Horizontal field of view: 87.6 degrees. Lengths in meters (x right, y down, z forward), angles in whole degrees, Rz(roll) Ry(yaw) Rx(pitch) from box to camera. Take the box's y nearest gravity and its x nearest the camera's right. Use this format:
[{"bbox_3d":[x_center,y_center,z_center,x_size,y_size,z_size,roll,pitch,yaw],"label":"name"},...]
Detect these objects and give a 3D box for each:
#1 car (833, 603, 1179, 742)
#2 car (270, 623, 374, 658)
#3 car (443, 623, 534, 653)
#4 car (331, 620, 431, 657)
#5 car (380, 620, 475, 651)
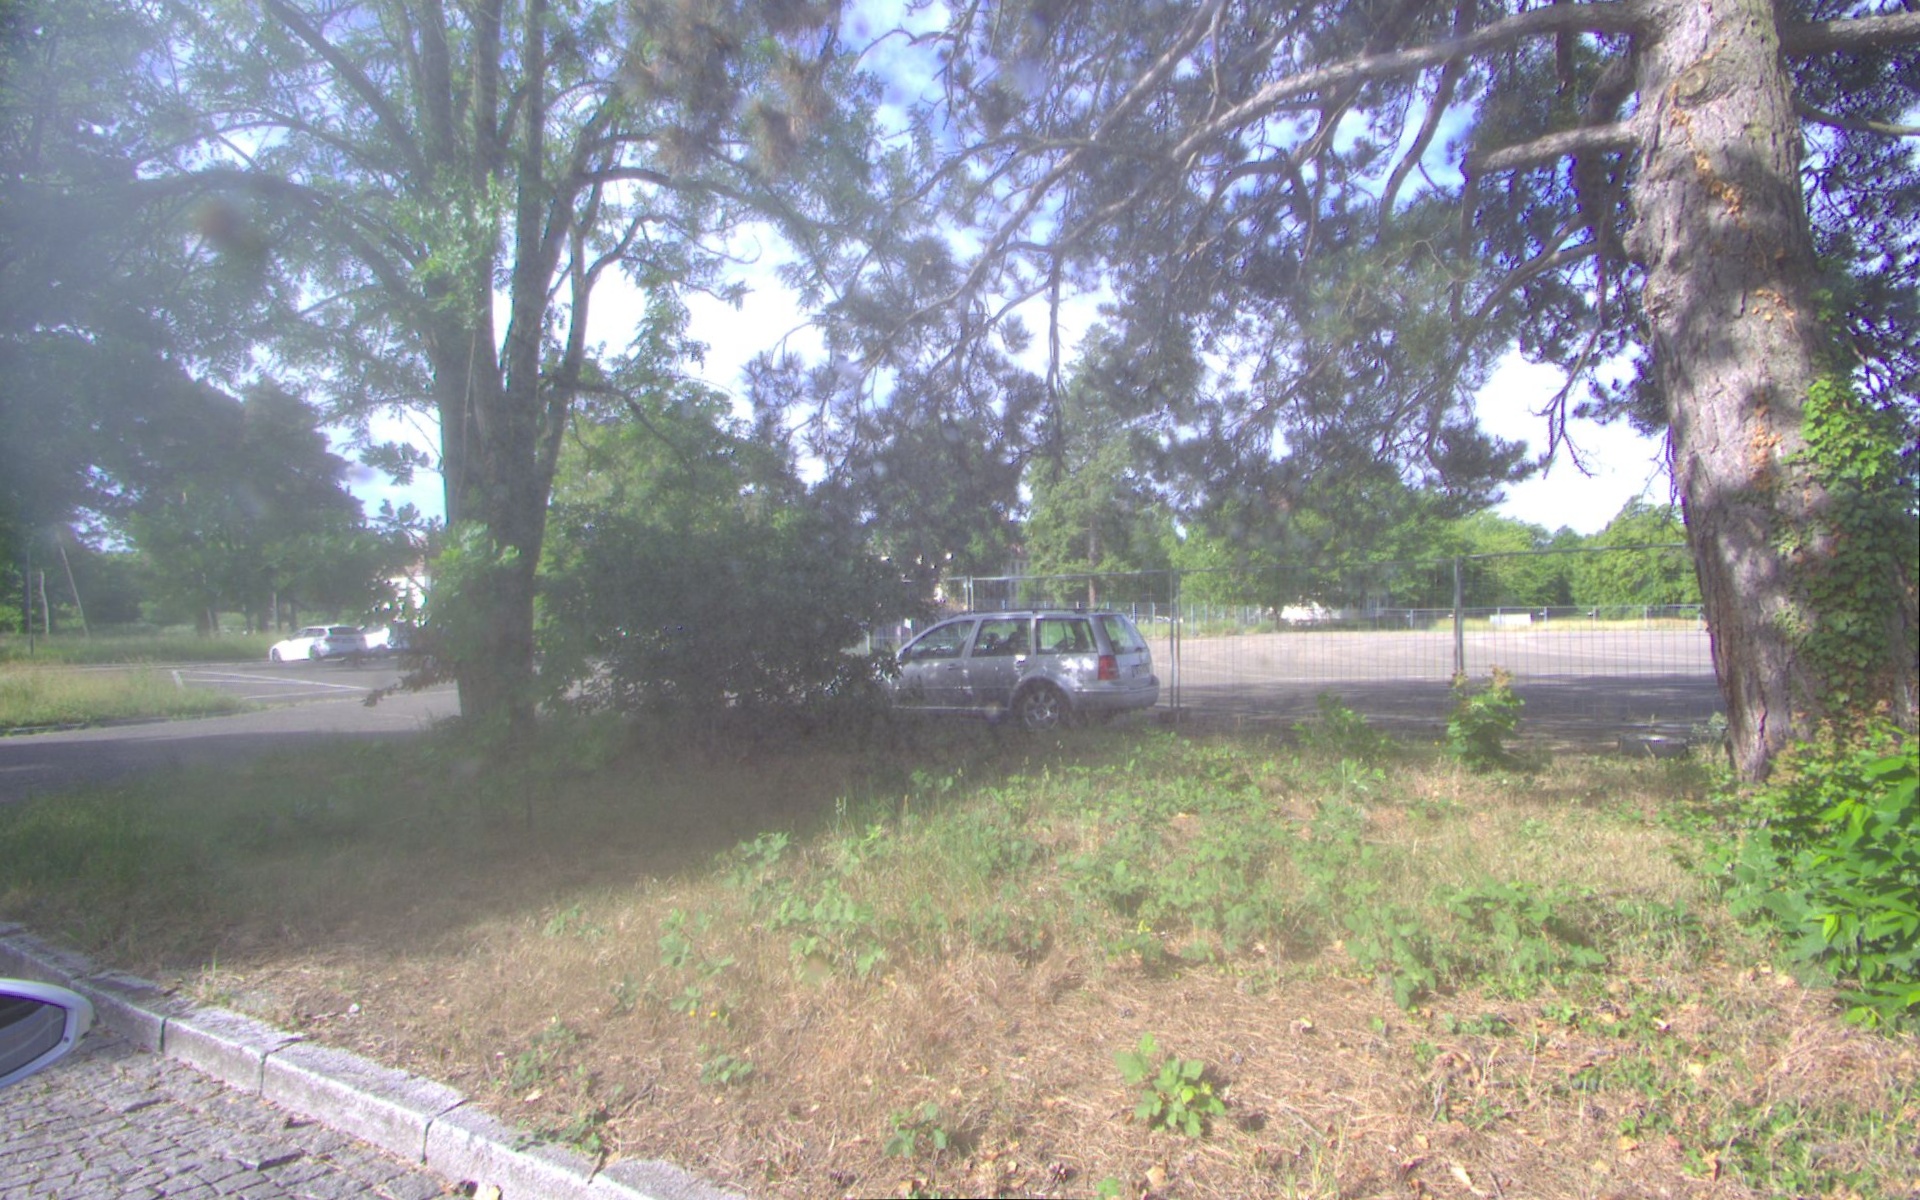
[{"bbox_3d":[0.531,0.821,12.363,3.938,1.487,1.666,-1,-1,28],"label":"car"},{"bbox_3d":[-25.803,1.628,40.474,4.265,1.329,1.729,-1,-1,28],"label":"car"},{"bbox_3d":[-22.479,1.790,47.674,4.265,1.329,1.729,-1,0,28],"label":"car"},{"bbox_3d":[-24.758,1.629,42.790,4.265,1.496,1.729,-1,-1,28],"label":"car"},{"bbox_3d":[-23.909,1.600,44.932,4.265,1.329,1.730,-1,-2,28],"label":"car"}]
